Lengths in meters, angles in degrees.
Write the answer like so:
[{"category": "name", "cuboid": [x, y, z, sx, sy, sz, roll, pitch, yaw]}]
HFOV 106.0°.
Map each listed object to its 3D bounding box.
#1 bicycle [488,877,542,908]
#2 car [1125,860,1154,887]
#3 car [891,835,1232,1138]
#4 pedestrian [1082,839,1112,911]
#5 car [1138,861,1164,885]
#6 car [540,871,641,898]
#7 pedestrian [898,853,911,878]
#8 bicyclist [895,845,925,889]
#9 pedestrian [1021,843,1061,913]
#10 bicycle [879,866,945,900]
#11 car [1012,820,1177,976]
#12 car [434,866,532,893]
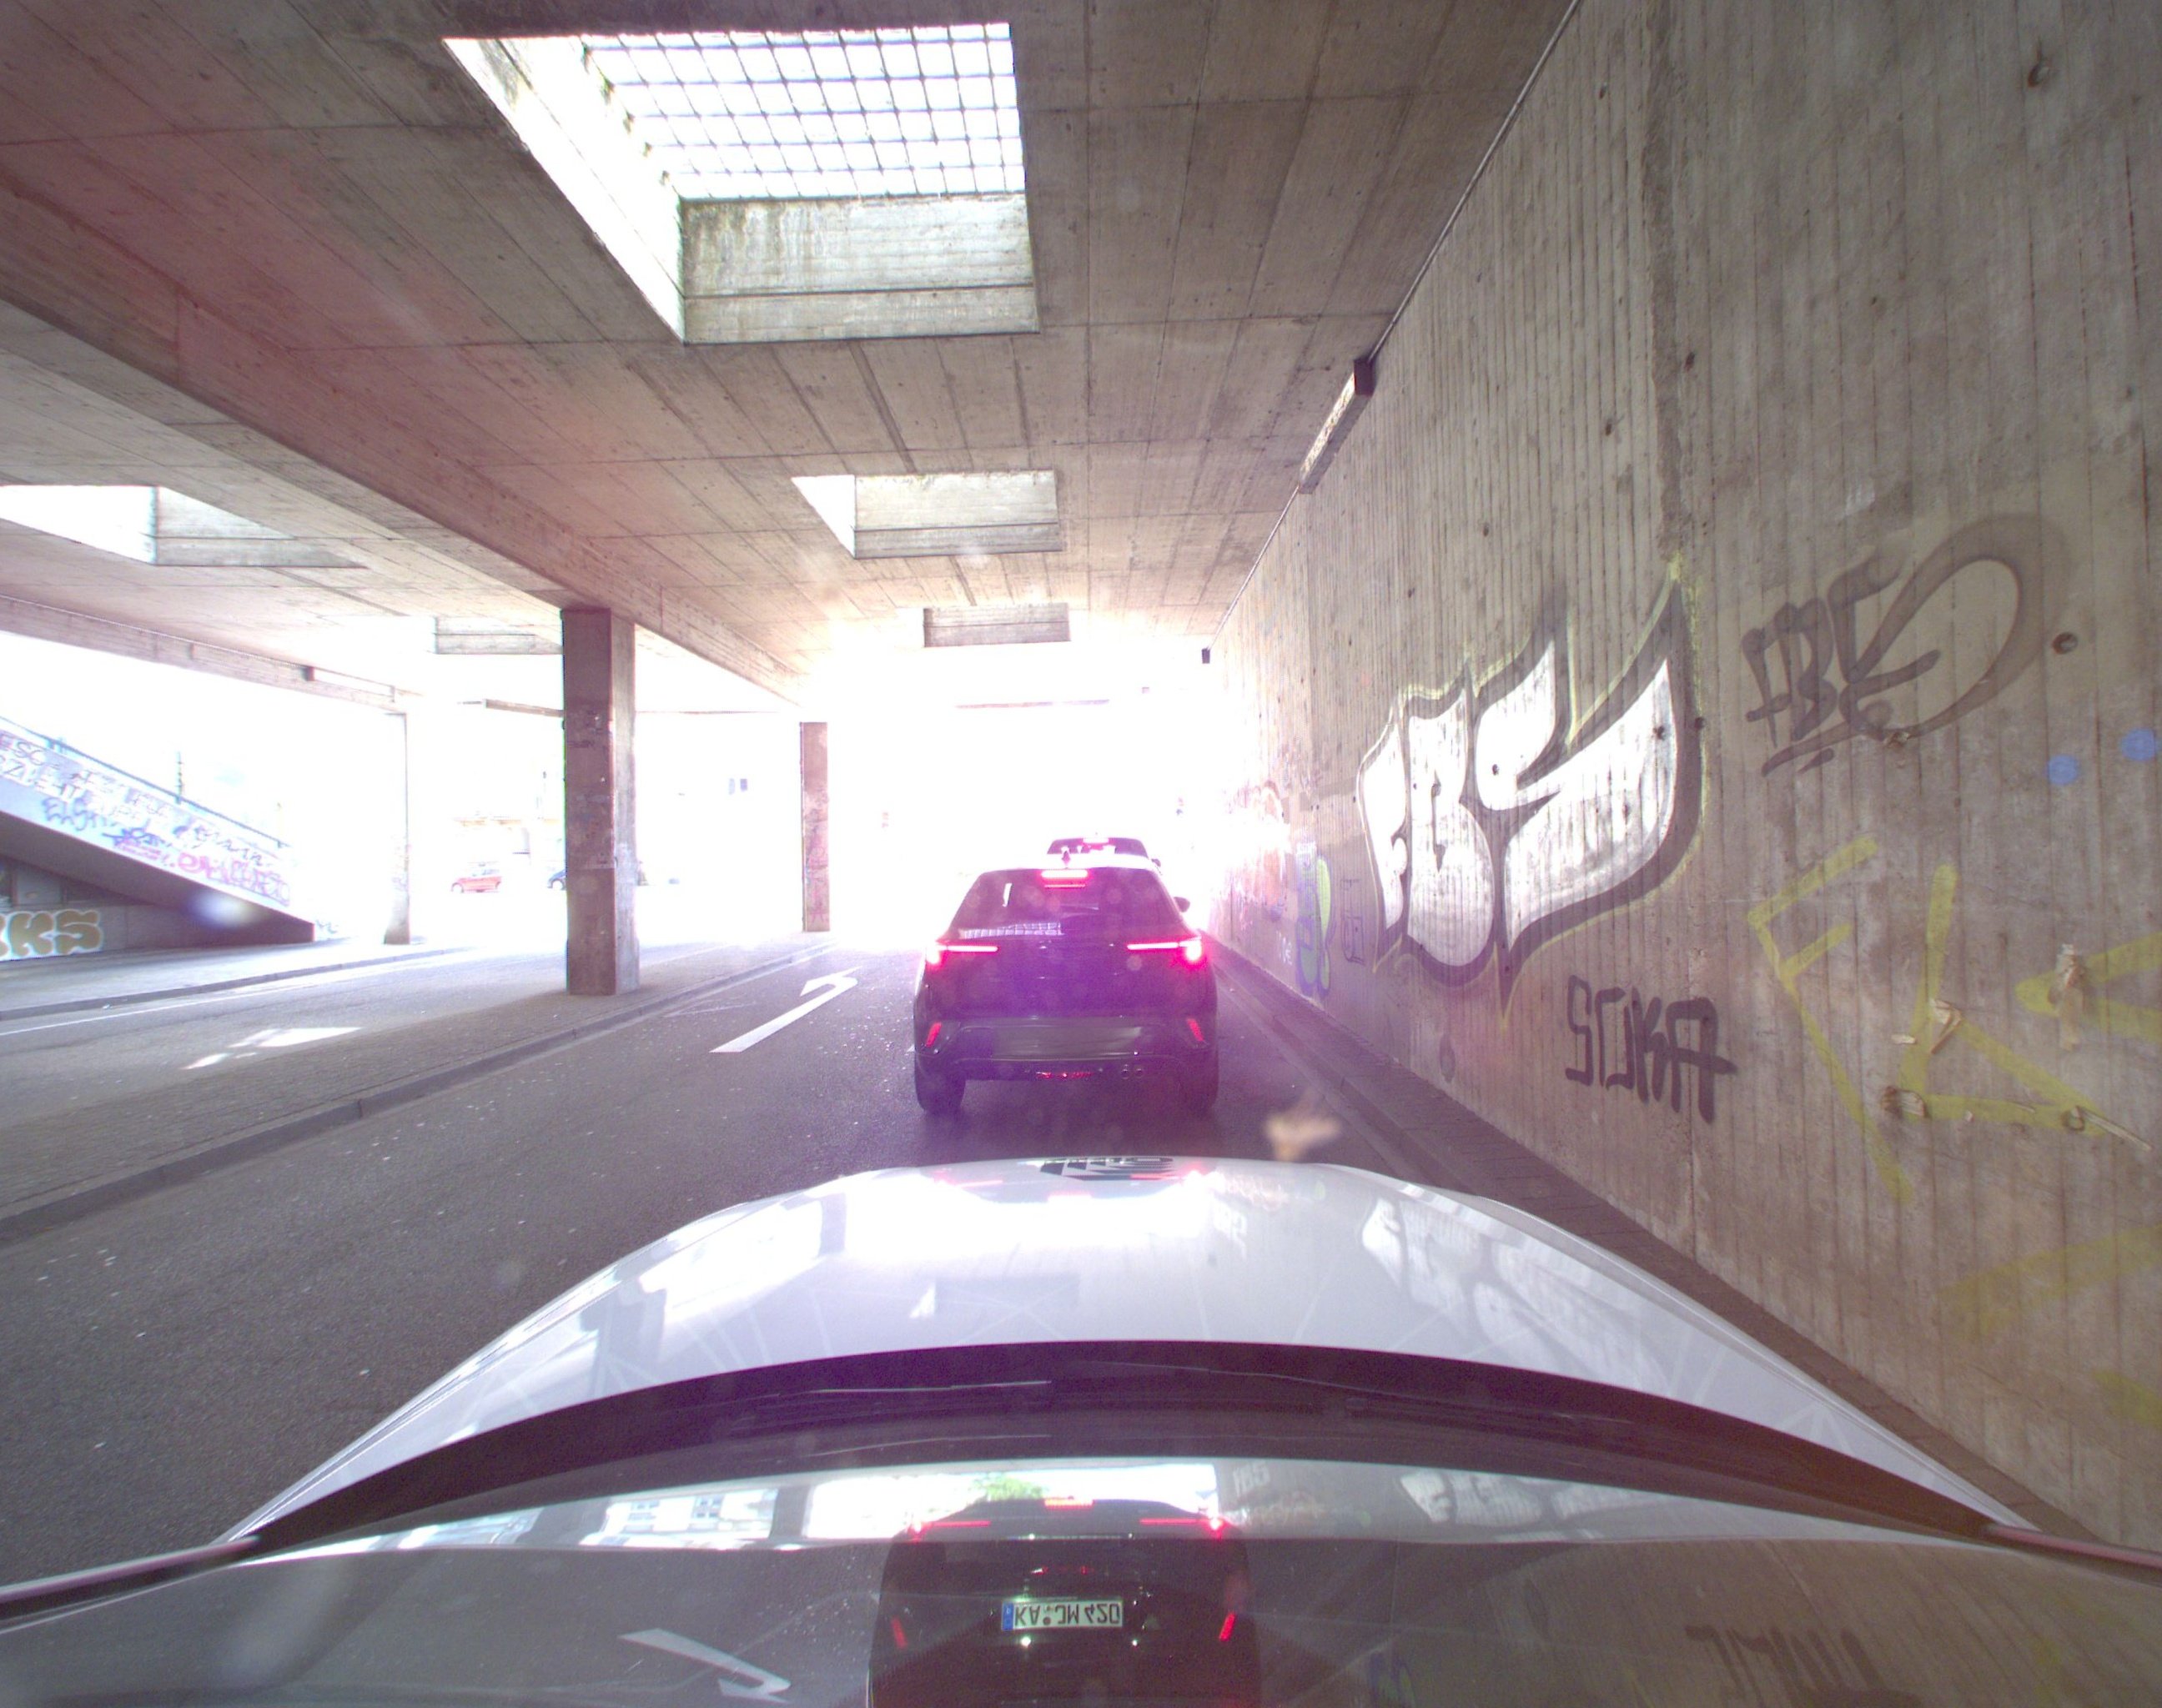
[{"category": "bicycle", "cuboid": [-21.061, 1.431, 30.294, 1.732, 1.118, 0.477, 0, -1, 4]}, {"category": "car", "cuboid": [4.511, 1.445, 62.348, 1.983, 1.970, 4.172, 0, -1, 7]}, {"category": "car", "cuboid": [-0.037, 0.652, 6.223, 1.758, 1.571, 4.002, 0, 1, 2]}, {"category": "pedestrian", "cuboid": [0.401, 0.519, 20.066, 0.728, 1.734, 0.874, 0, -1, 1]}, {"category": "car", "cuboid": [5.908, 1.545, 68.441, 1.983, 1.970, 4.172, 0, -1, 7]}, {"category": "car", "cuboid": [-27.193, 1.660, 45.224, 4.393, 1.409, 1.925, 0, -1, -1]}, {"category": "pedestrian", "cuboid": [-11.570, 0.748, 53.387, 0.669, 1.637, 0.741, 0, -1, 1]}, {"category": "bicyclist", "cuboid": [-5.692, 0.446, 27.190, 0.733, 1.423, 0.686, -3, -1, 8]}, {"category": "pedestrian", "cuboid": [-1.028, 0.618, 21.101, 0.925, 1.762, 0.795, 0, -1, 3]}, {"category": "bicycle", "cuboid": [-5.621, 0.962, 27.153, 1.978, 1.050, 0.720, -2, -1, 8]}, {"category": "car", "cuboid": [0.234, 0.542, 12.076, 1.986, 1.871, 4.002, -2, 0, 2]}, {"category": "car", "cuboid": [-33.180, 1.414, 45.278, 3.975, 1.409, 1.925, 0, -1, -1]}]
